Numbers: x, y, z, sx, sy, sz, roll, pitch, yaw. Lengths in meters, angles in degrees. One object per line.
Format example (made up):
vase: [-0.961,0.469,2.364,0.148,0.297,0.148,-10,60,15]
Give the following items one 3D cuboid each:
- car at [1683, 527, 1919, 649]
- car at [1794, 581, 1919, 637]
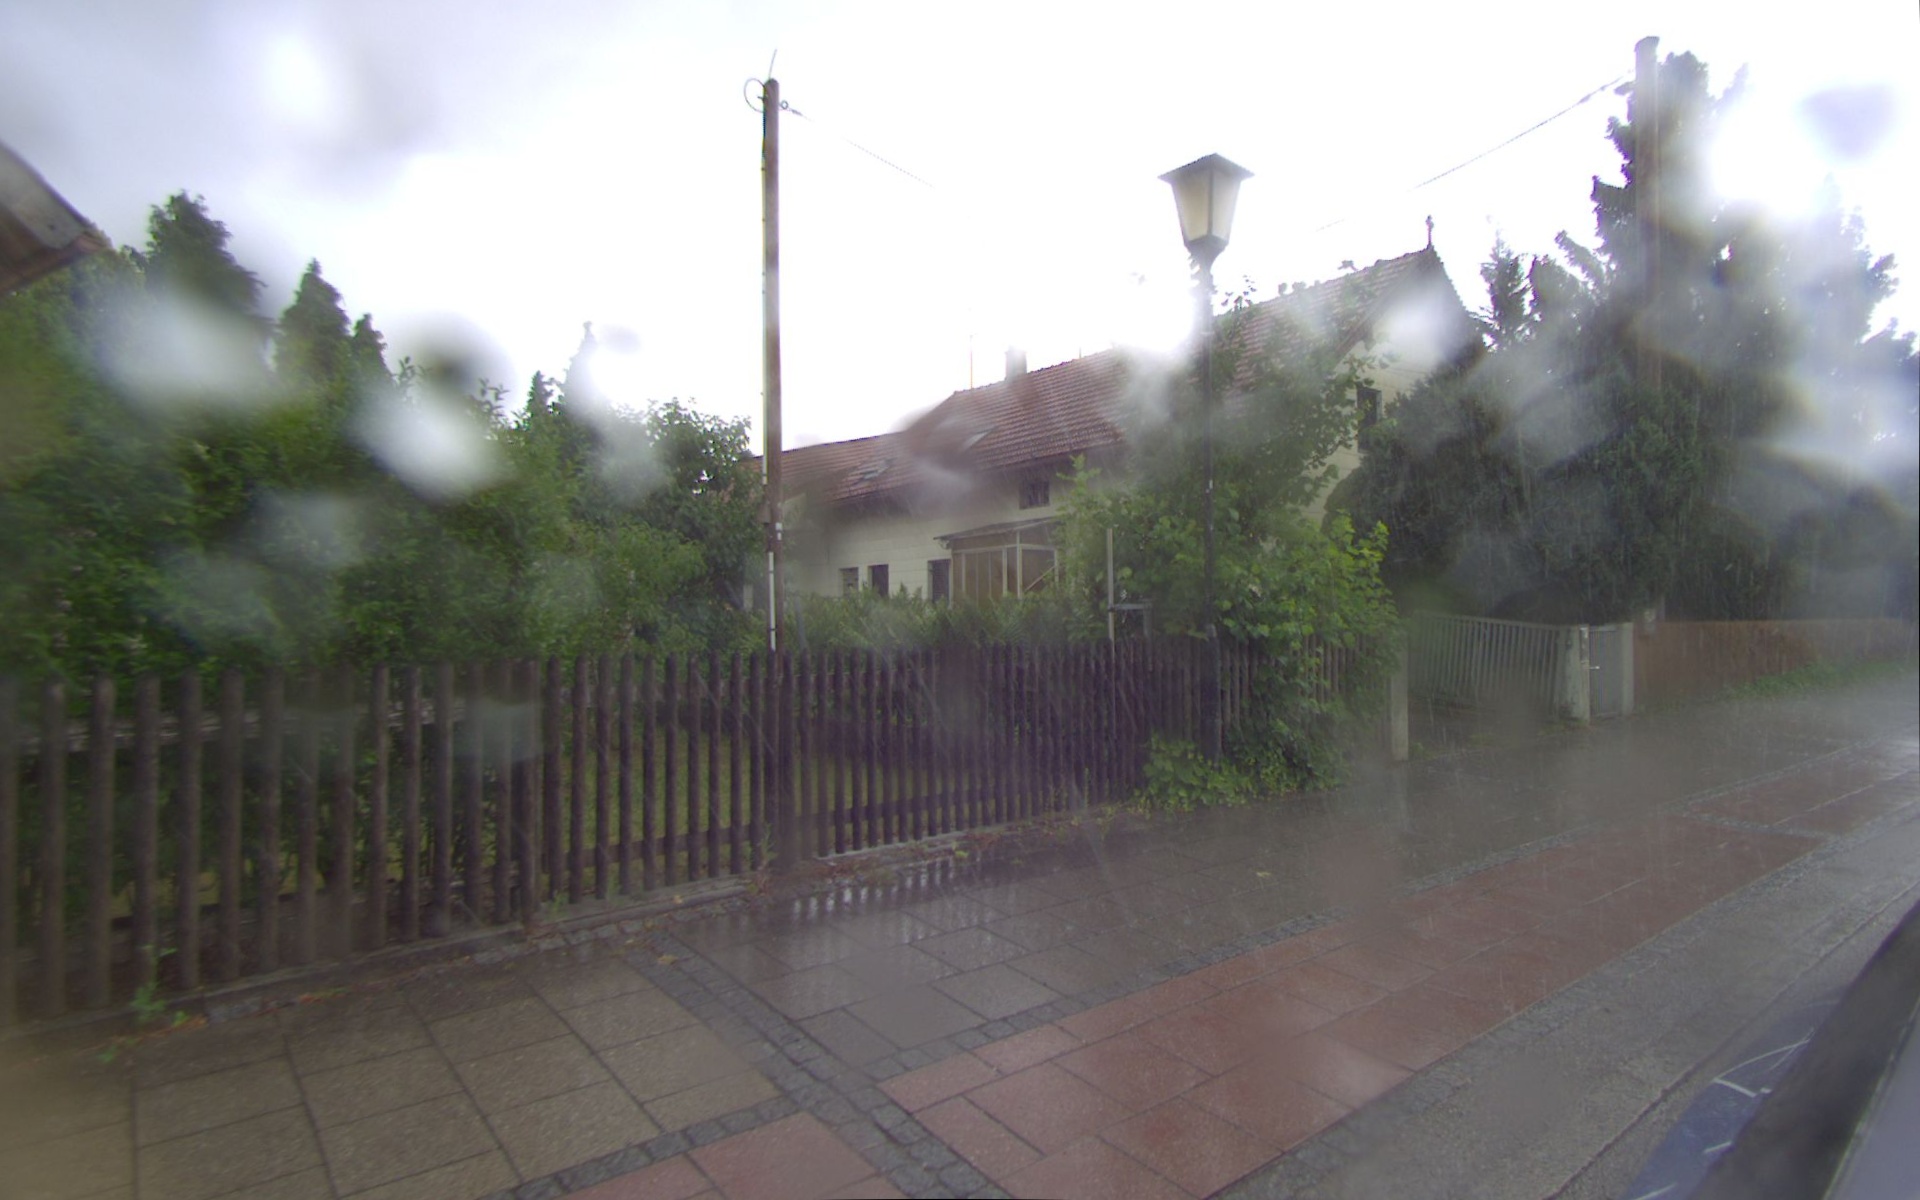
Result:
car: [21.247,-0.342,24.936,1.967,2.761,5.308,-1,2,-44]
car: [26.637,0.252,28.669,1.800,1.438,4.435,-1,3,-43]
